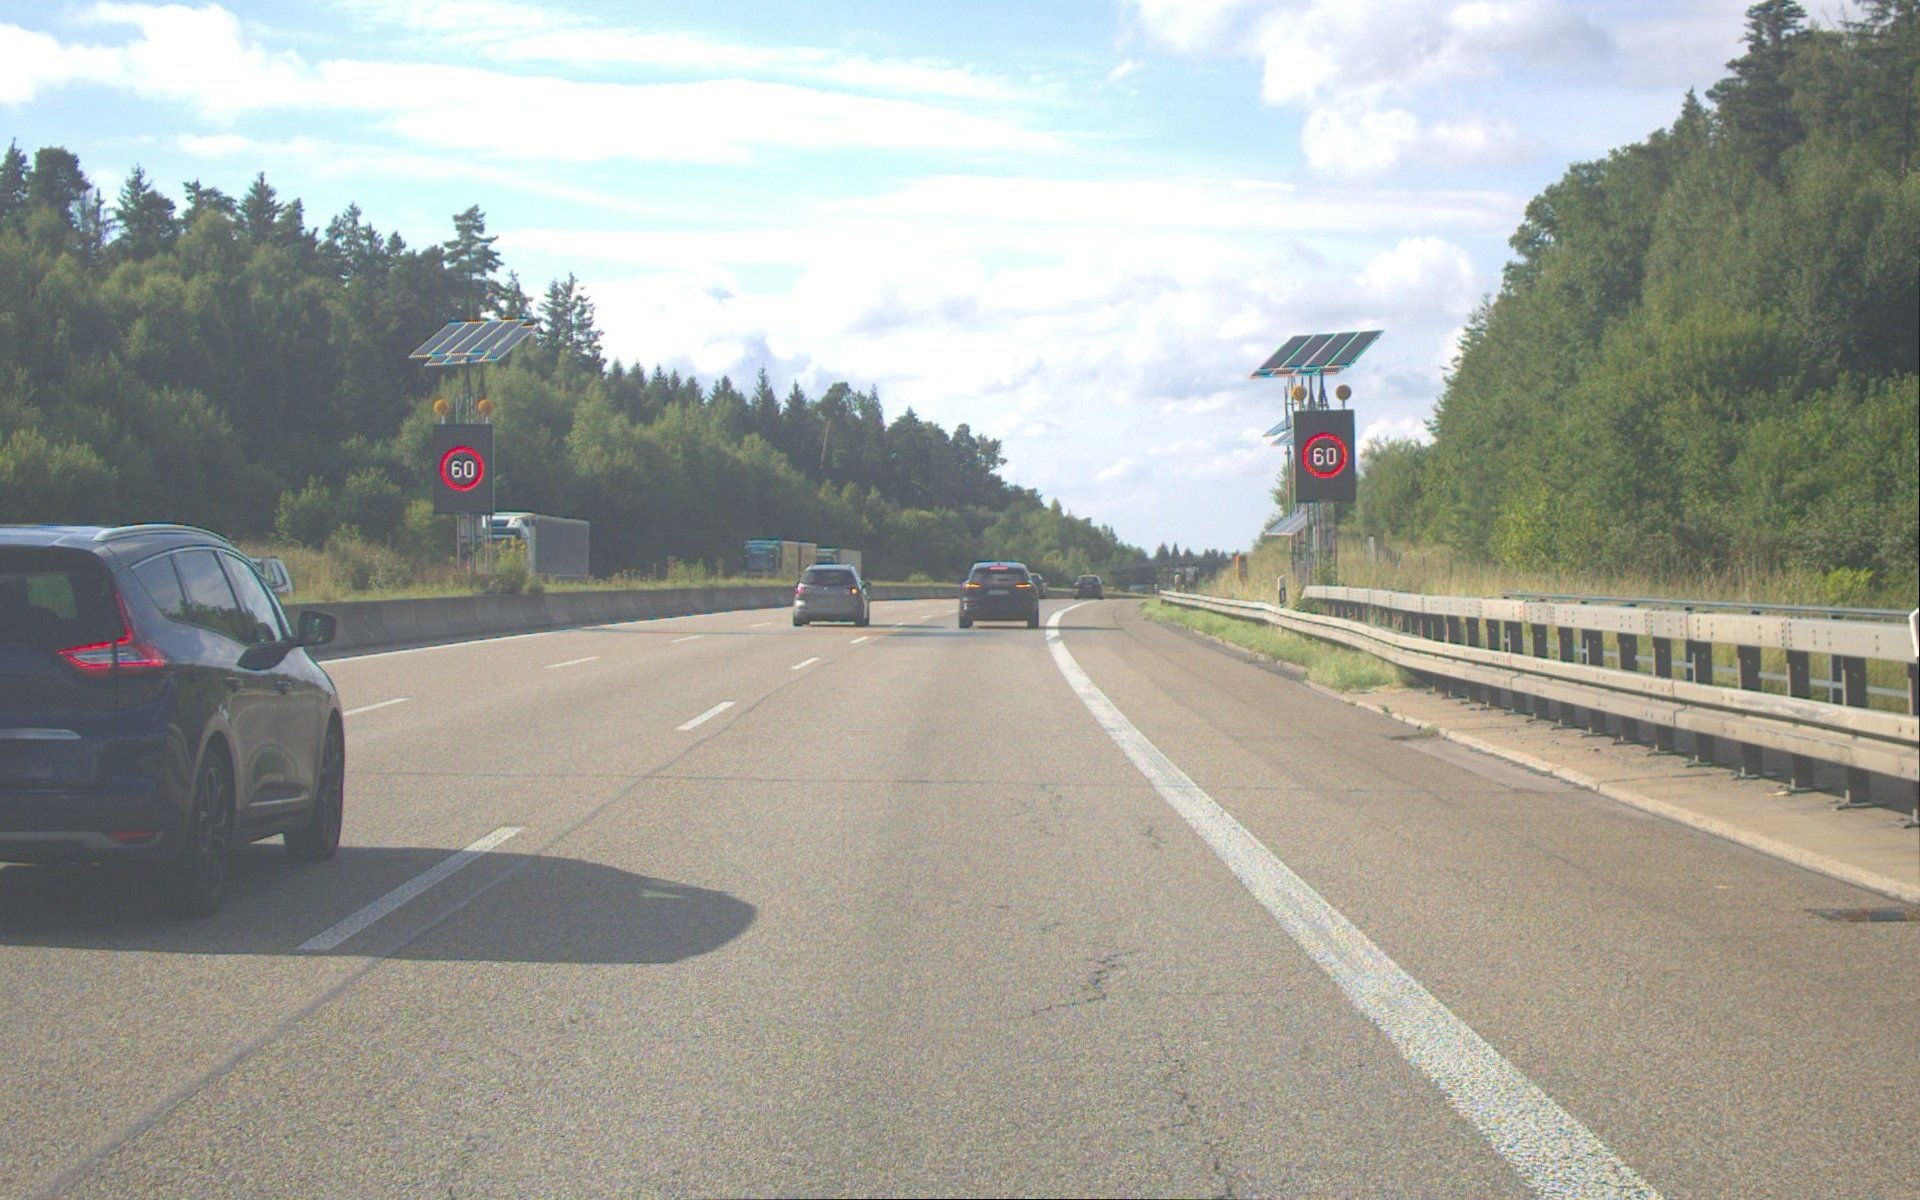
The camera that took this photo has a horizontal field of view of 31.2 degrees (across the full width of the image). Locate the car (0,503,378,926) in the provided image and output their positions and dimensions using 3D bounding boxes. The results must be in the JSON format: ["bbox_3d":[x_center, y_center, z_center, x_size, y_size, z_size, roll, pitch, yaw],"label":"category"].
[{"bbox_3d":[-4.063,0.427,16.095,1.993,1.701,4.529,0,1,-1],"label":"car"}]

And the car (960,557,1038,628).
[{"bbox_3d":[0.964,-0.211,84.811,1.873,1.669,3.890,1,1,1],"label":"car"}]

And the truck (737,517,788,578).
[{"bbox_3d":[-13.557,-3.594,236.076,2.650,4.072,6.415,0,1,4],"label":"truck"}]

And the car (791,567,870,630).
[{"bbox_3d":[-3.231,-0.064,86.552,1.873,1.492,3.880,0,1,-1],"label":"car"}]

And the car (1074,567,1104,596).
[{"bbox_3d":[7.983,-1.156,213.086,1.812,1.700,4.000,0,1,1],"label":"car"}]

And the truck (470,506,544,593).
[{"bbox_3d":[-19.772,-2.191,150.227,2.279,3.716,5.531,0,0,2],"label":"truck"}]

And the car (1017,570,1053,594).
[{"bbox_3d":[4.810,-1.171,220.588,1.874,1.492,3.879,1,1,8],"label":"car"}]
